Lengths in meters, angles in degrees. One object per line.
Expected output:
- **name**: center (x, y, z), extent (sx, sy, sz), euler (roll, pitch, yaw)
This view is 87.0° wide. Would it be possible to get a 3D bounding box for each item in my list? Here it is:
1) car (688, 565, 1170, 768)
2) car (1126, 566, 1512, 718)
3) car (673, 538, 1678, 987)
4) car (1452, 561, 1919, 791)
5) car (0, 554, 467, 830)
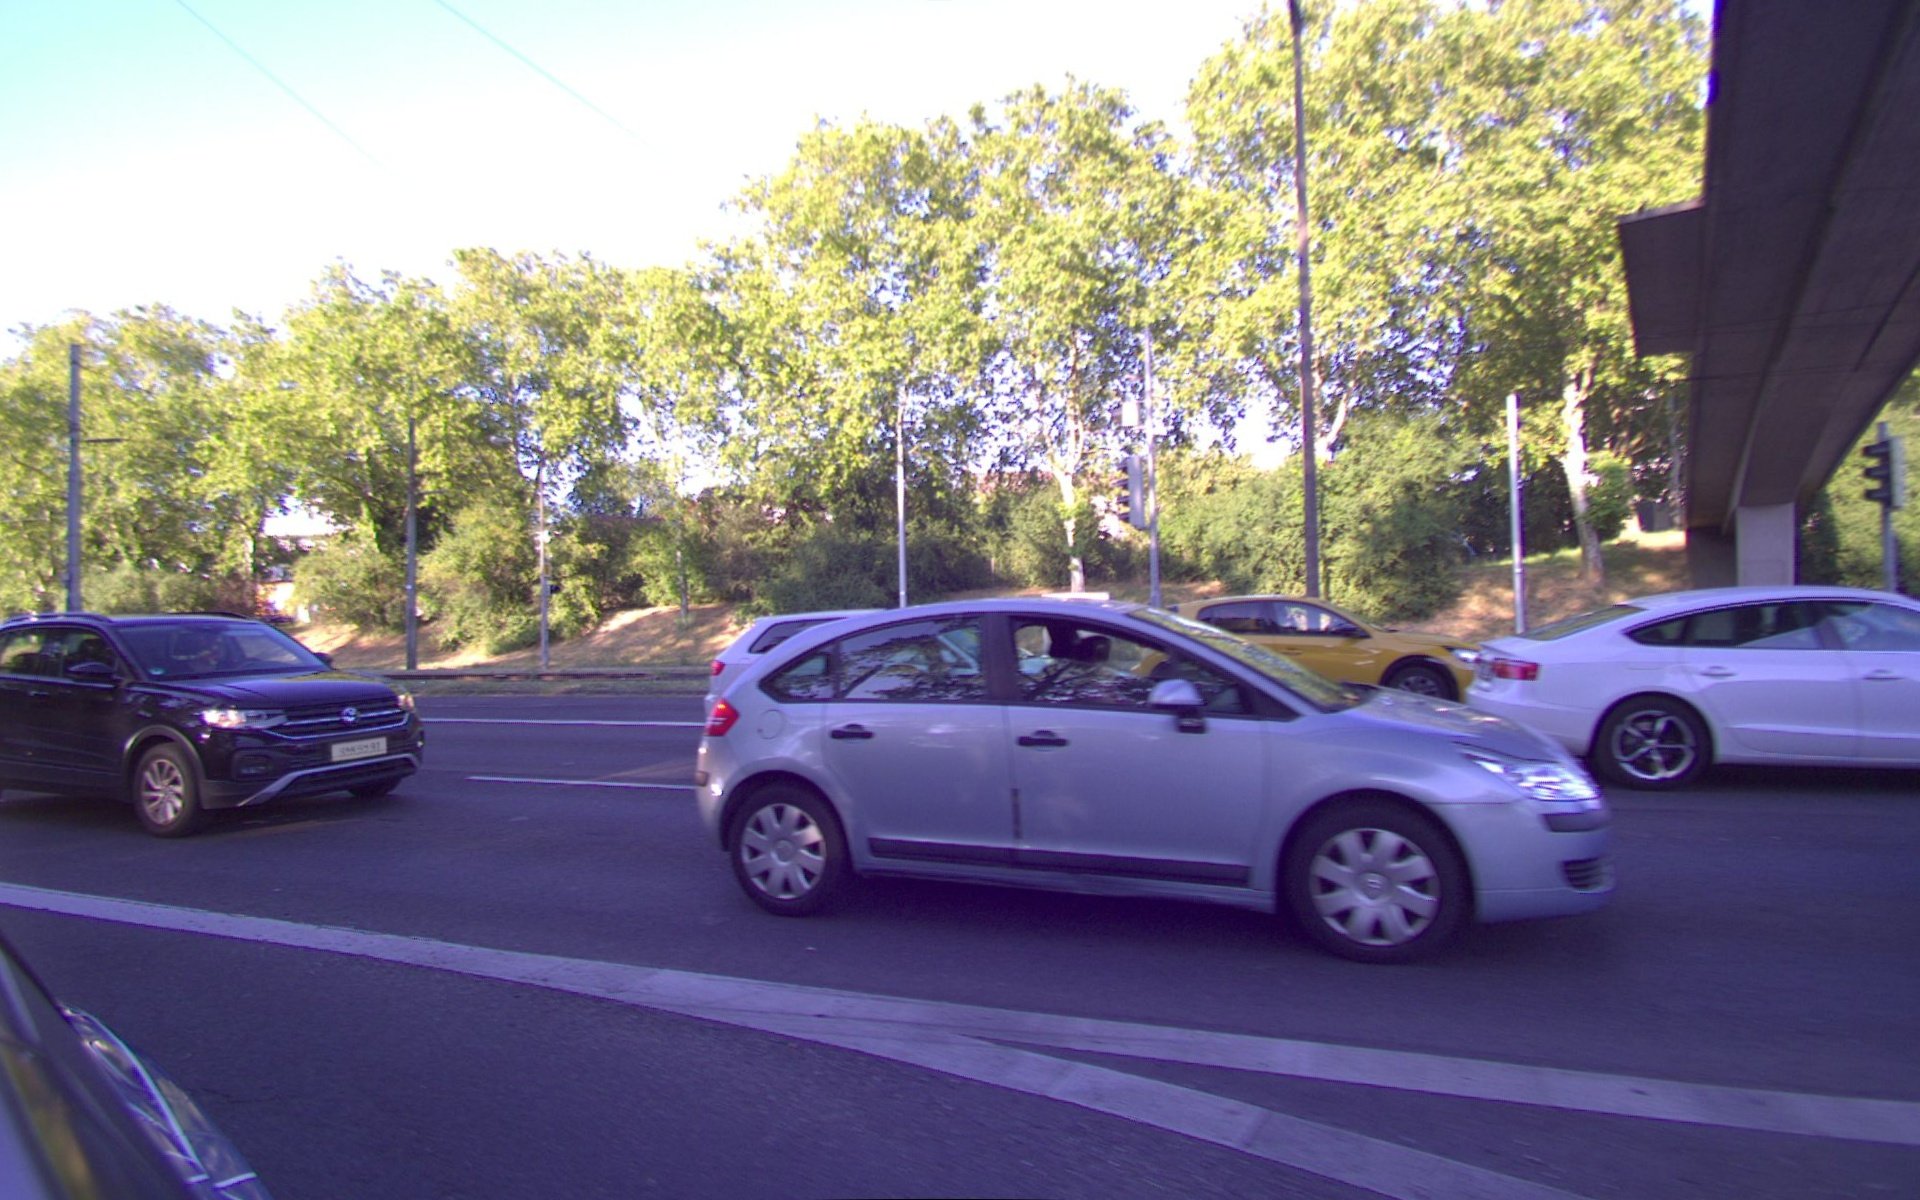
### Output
- **car**: center (-0.284, 0.634, 9.388), extent (4.159, 1.577, 1.657), euler (-2, -4, 20)
- **car**: center (4.111, 0.553, 11.995), extent (3.970, 1.577, 1.657), euler (-2, -4, 20)
- **car**: center (0.799, 0.655, 4.928), extent (3.970, 1.493, 1.786), euler (-2, -4, 20)
- **car**: center (6.081, 0.484, 7.240), extent (4.378, 1.443, 1.736), euler (-2, -1, 20)
- **car**: center (-6.158, 0.704, 8.035), extent (3.970, 1.763, 1.786), euler (-2, -4, 20)
